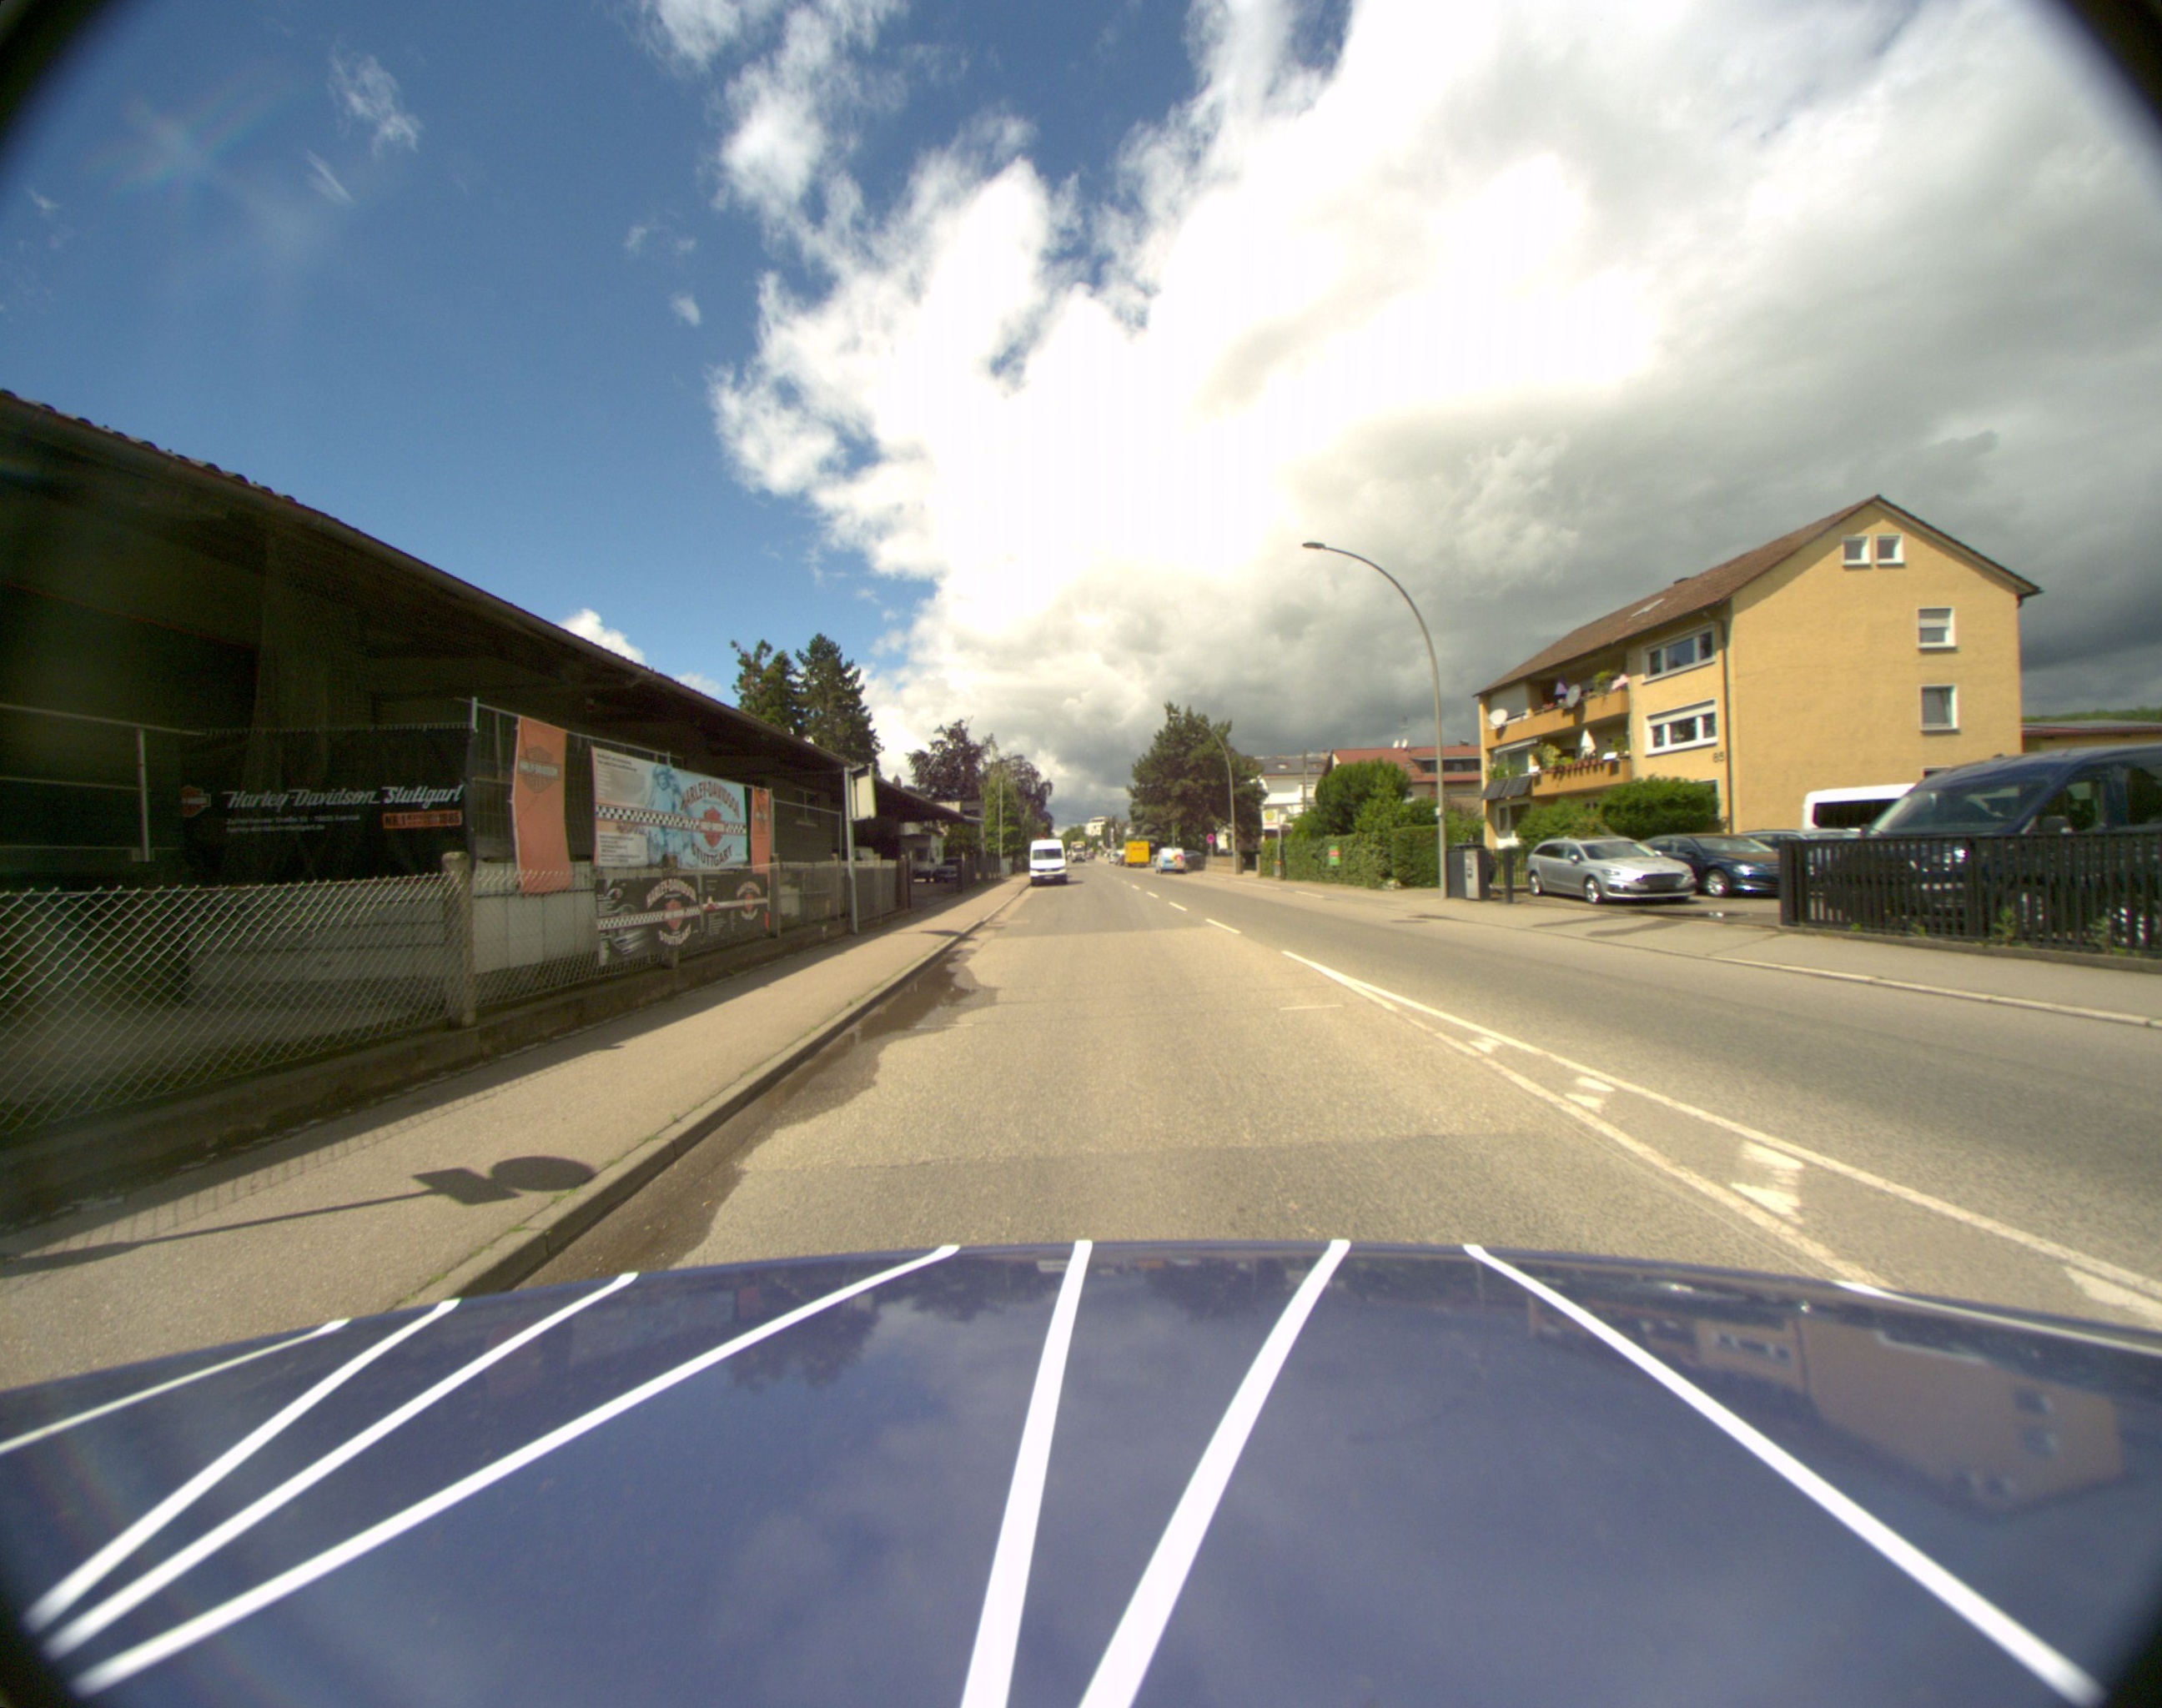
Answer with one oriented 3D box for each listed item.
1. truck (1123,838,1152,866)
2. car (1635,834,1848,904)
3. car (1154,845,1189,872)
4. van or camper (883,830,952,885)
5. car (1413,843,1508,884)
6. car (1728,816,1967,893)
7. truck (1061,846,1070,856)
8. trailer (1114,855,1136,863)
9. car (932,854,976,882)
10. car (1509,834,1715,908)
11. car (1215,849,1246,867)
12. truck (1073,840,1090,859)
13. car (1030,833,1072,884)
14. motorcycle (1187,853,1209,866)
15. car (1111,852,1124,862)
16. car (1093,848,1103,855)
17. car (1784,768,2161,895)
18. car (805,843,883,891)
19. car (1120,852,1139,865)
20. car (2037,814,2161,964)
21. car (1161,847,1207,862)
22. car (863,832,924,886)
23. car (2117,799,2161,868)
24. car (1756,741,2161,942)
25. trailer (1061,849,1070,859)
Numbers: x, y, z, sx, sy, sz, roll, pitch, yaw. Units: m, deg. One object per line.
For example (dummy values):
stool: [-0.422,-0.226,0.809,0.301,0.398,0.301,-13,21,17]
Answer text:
truck: [6.296,-0.207,85.566,2.330,2.986,7.816,0,0,-2]
car: [15.292,0.293,17.956,1.848,1.418,4.334,-2,0,11]
car: [6.564,0.333,55.607,1.838,1.842,4.895,1,-1,-1]
van or camper: [-9.928,0.199,46.931,2.889,3.043,6.911,-2,0,-2]
car: [14.262,0.316,28.842,1.848,1.418,4.332,-2,0,7]
car: [17.870,0.003,18.067,1.848,1.568,4.334,-1,0,11]
truck: [-4.646,-0.967,228.889,2.411,2.722,6.639,-4,1,-1]
trailer: [5.721,0.675,99.585,2.324,0.985,7.457,0,0,-1]
car: [-7.416,0.806,44.744,1.769,1.480,4.926,-2,0,-1]
car: [12.452,0.339,18.347,1.997,1.477,5.344,-2,0,10]
car: [13.672,0.349,69.665,1.772,1.534,4.086,-2,0,-5]
truck: [0.053,-0.897,142.924,2.880,3.290,8.605,-4,1,-1]
car: [-1.716,0.227,43.770,2.221,2.673,6.656,-1,0,-2]
motorcycle: [10.559,0.512,68.475,1.872,1.159,0.825,-2,0,16]
car: [5.579,0.450,117.239,1.809,1.666,4.127,0,0,-1]
car: [3.966,-0.556,176.353,1.906,1.509,4.317,-1,0,-2]
car: [20.569,-0.453,17.935,2.418,2.481,6.135,0,0,2]
car: [-10.485,0.558,34.046,1.999,1.898,4.852,-2,0,-1]
car: [5.941,0.562,93.273,1.999,1.445,4.811,2,0,-1]
car: [12.526,0.345,6.966,2.037,1.585,4.283,-2,0,-4]
car: [11.914,0.097,87.995,5.021,1.543,1.972,-2,1,-2]
car: [-10.000,0.313,40.905,2.023,2.665,5.497,-2,-1,-2]
car: [28.638,-0.541,18.161,1.849,1.781,4.330,-2,0,0]
car: [13.819,-0.206,10.925,6.053,2.482,2.477,-2,0,-1]
trailer: [-3.609,-0.069,177.287,2.045,2.214,5.078,-1,0,0]
